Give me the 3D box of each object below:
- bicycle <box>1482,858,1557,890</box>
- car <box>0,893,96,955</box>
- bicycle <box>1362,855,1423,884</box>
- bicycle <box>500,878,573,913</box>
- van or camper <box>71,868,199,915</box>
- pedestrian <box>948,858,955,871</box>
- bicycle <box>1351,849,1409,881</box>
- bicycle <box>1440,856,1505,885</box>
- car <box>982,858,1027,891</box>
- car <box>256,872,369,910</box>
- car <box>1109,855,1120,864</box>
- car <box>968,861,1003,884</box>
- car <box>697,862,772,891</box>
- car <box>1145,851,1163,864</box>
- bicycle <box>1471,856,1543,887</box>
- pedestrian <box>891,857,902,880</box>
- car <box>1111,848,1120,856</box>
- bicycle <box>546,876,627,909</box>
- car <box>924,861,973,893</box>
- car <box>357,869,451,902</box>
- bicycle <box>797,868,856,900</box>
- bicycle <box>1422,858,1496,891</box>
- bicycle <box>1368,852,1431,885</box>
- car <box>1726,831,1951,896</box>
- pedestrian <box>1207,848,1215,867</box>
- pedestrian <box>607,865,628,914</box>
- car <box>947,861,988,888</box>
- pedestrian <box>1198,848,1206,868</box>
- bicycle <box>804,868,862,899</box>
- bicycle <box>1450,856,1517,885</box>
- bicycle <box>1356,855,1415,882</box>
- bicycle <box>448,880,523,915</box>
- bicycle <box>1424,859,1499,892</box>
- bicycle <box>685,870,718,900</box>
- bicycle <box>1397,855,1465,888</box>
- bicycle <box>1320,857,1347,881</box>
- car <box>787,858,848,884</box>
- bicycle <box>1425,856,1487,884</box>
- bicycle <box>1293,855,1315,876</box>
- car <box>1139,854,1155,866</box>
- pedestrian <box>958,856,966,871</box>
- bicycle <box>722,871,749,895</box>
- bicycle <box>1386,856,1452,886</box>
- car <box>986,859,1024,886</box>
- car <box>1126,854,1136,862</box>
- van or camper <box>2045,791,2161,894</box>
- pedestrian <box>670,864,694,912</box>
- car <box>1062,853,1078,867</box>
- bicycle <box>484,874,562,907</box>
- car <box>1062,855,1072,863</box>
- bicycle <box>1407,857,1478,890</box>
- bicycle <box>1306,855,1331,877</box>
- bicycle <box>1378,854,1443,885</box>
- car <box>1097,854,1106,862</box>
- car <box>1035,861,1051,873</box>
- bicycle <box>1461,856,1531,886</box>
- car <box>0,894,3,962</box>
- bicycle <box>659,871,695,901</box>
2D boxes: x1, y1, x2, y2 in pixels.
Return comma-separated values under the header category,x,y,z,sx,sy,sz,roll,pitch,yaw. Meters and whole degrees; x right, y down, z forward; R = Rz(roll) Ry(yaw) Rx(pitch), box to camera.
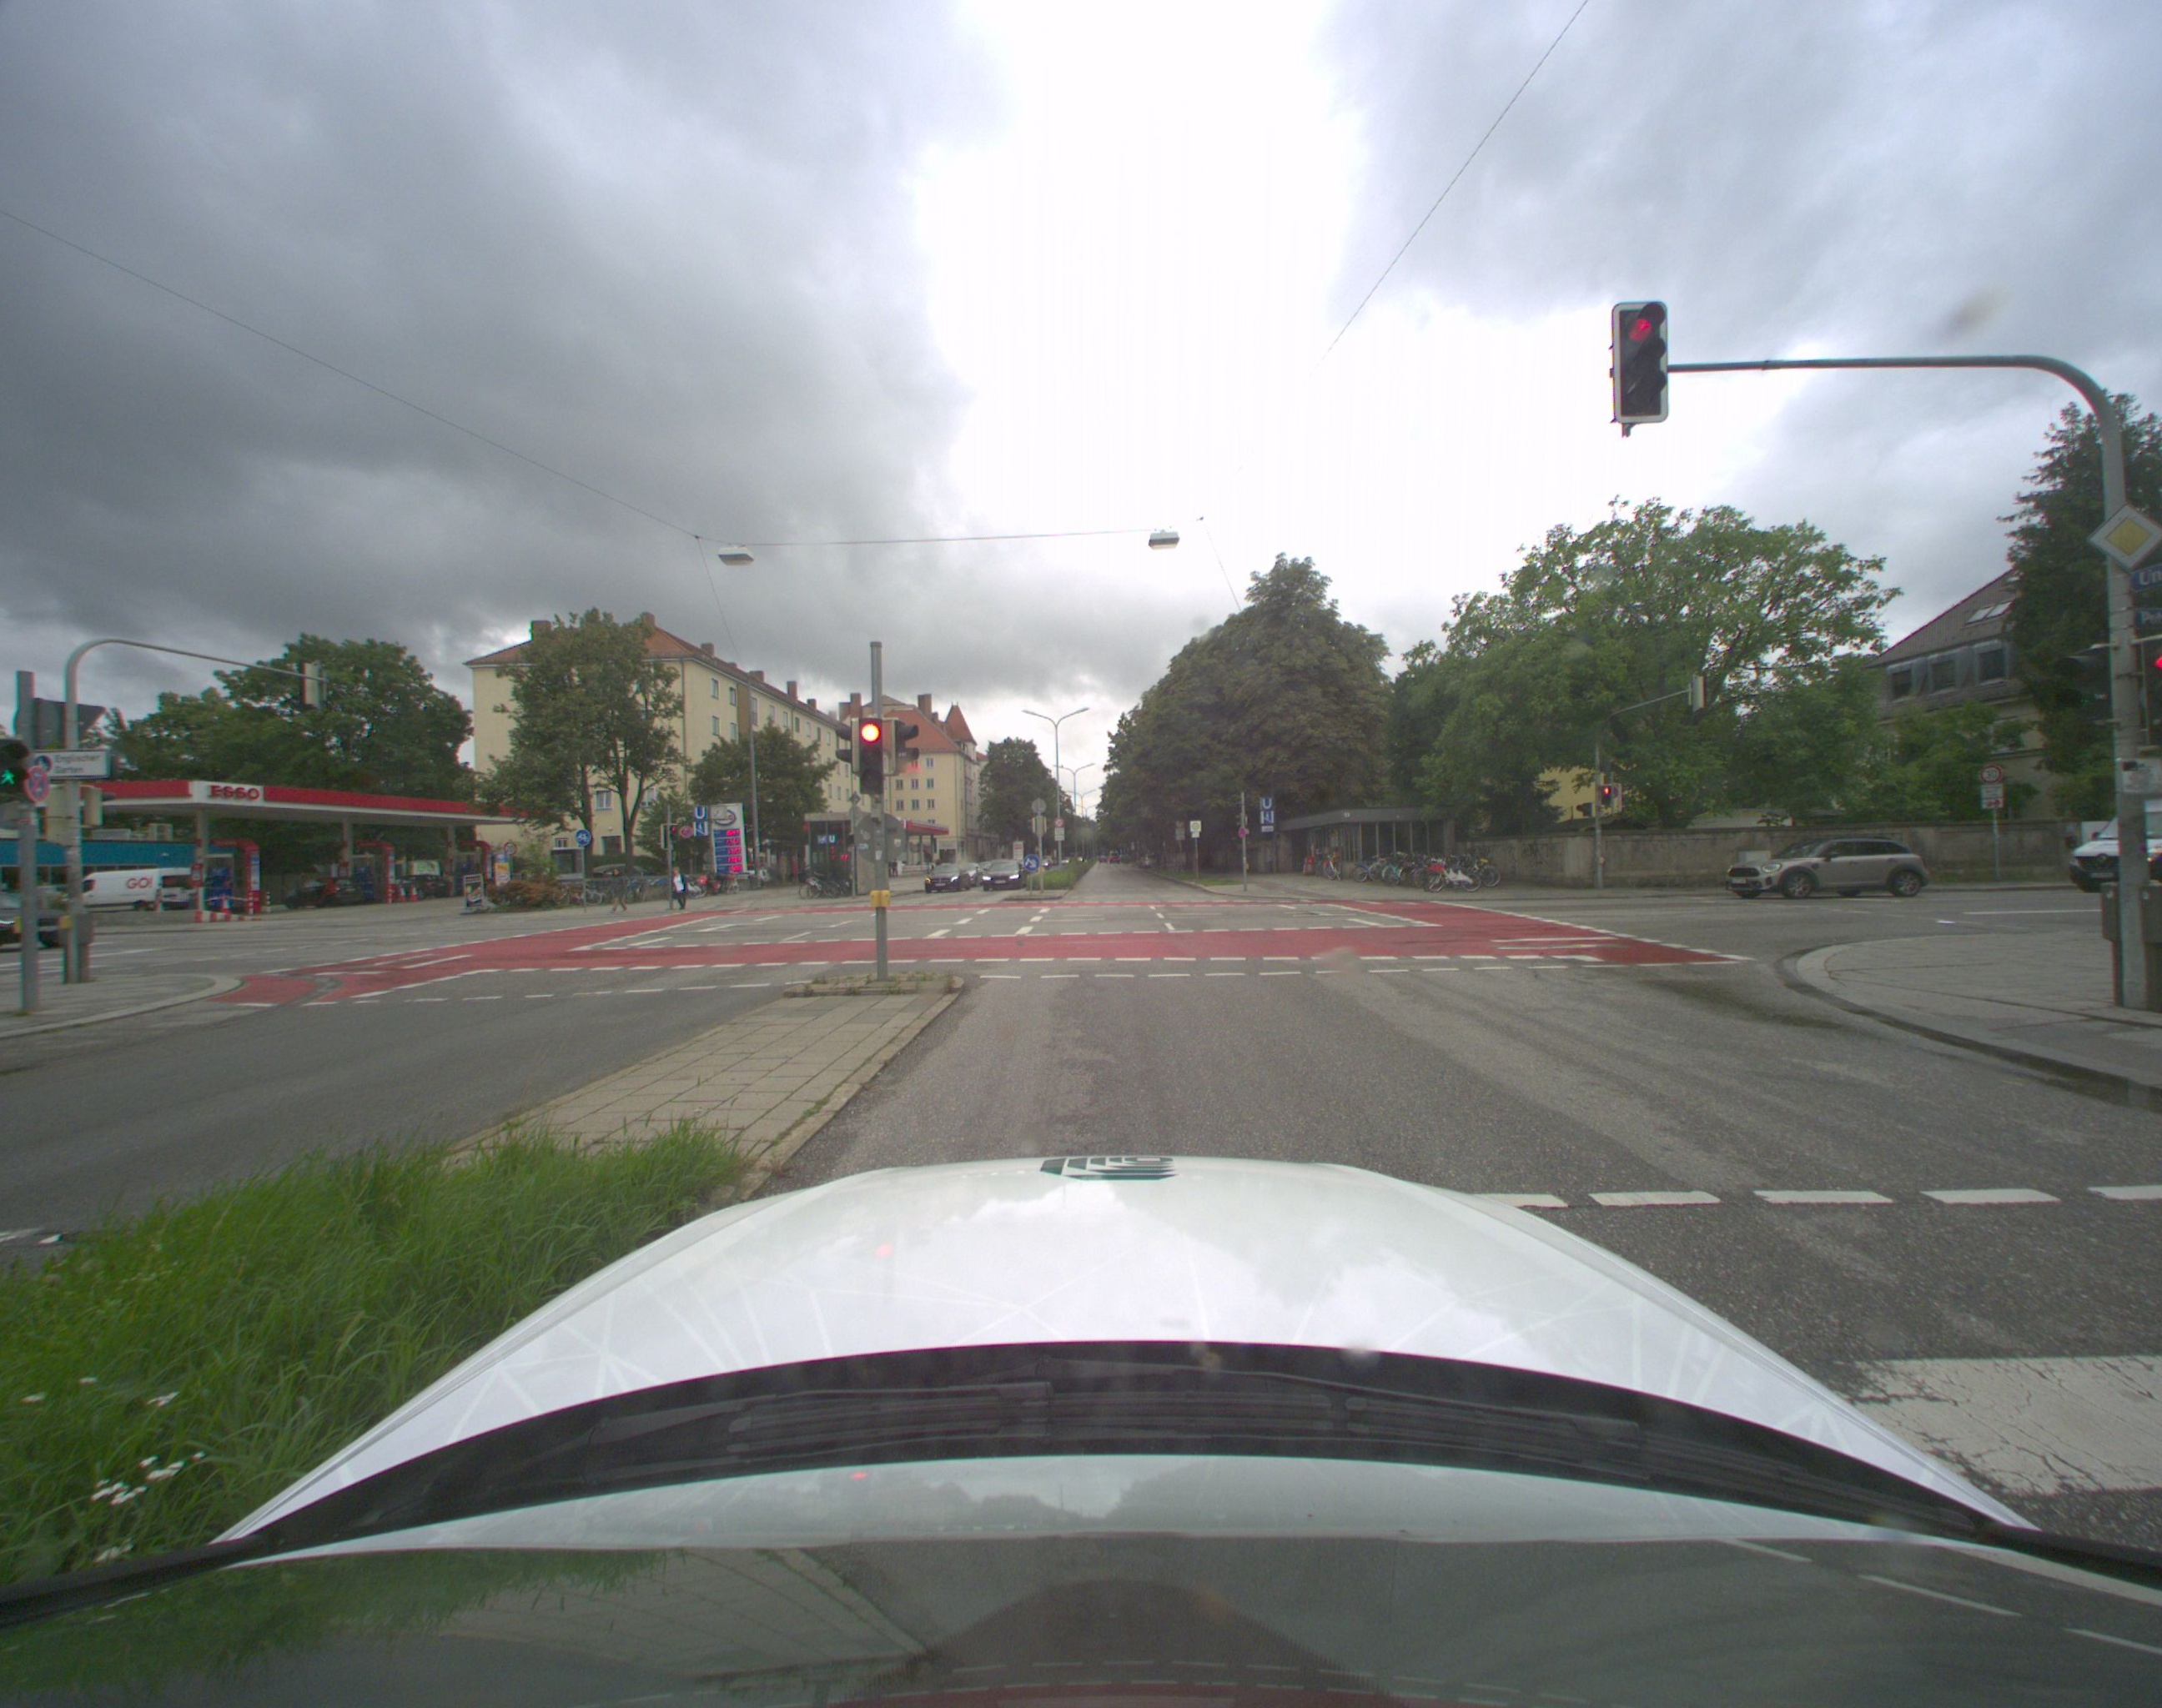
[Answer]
category,x,y,z,sx,sy,sz,roll,pitch,yaw
bicycle,14.926,0.691,27.740,2.130,1.014,0.636,-2,0,9
car,-27.644,1.780,20.615,3.532,1.412,1.666,-2,0,3
bicycle,12.165,0.613,31.838,2.130,1.062,0.604,-2,0,9
bicycle,-20.894,1.578,31.297,2.180,1.236,0.763,-2,0,-10
van or camper,-51.867,2.032,44.714,4.526,2.323,1.917,-2,0,-3
pedestrian,-16.111,1.284,101.410,0.693,1.638,0.738,-2,0,1
bicycle,12.269,0.444,33.433,2.130,1.218,0.604,-2,0,9
bicycle,14.832,0.615,30.888,2.130,1.014,0.636,-2,0,9
car,-3.764,0.969,40.824,1.753,1.493,4.001,-2,0,1
car,-39.589,1.894,42.015,3.973,1.784,1.858,-2,0,1
car,6.294,1.032,153.437,1.916,1.684,4.001,-2,0,1
car,-6.483,1.253,55.713,1.753,1.460,4.001,-2,0,1
car,-21.348,1.372,50.269,3.961,1.608,1.807,-2,0,-15
car,8.033,0.367,89.715,1.737,1.363,3.807,-2,0,1
bicycle,14.895,0.597,28.539,2.130,1.014,0.636,-2,0,9
pedestrian,-15.951,1.244,70.445,0.727,2.014,0.835,0,-1,1
car,7.834,-0.544,187.017,1.986,1.756,4.001,-2,0,1
bicycle,-19.587,1.506,32.353,2.720,1.251,0.786,0,-1,-29
car,-6.741,1.128,41.823,1.753,1.460,4.001,-2,0,1
car,-40.389,1.876,48.627,3.973,1.784,1.858,-2,0,1
bicycle,-11.021,1.281,35.281,2.262,1.304,0.704,-2,0,2
bicycle,12.732,0.691,27.480,2.130,1.014,0.636,-2,0,9
bicycle,12.173,0.549,31.136,2.130,1.178,0.604,-2,0,9
car,19.704,0.250,21.341,4.148,1.514,1.697,-2,0,4
pedestrian,11.482,0.323,71.927,0.674,1.682,0.684,-2,0,7
pedestrian,-16.473,1.257,28.939,0.593,1.695,0.571,-2,0,-29
car,-6.717,1.187,48.632,1.753,1.460,4.001,-2,0,1
pedestrian,10.717,0.364,71.997,0.674,1.682,0.684,-2,0,7
bicycle,-10.975,1.296,36.060,2.276,1.304,0.694,-2,0,2
bicycle,14.864,0.610,30.102,2.130,1.014,0.636,-2,0,9
bicycle,12.218,0.585,32.719,2.130,1.014,0.604,-2,0,9
bicycle,-22.828,1.650,31.245,2.179,1.236,0.764,-2,0,-8
bicycle,12.516,0.706,26.860,2.130,1.014,0.604,-2,0,9
bicycle,-17.181,1.385,36.887,0.607,1.236,2.183,-2,0,-5
bicycle,12.413,0.603,28.948,2.130,1.101,0.604,-2,0,9
bicycle,11.133,0.638,35.975,0.555,1.014,2.015,-2,0,0
car,-20.114,1.261,62.300,3.976,1.838,1.879,-2,0,-2
bicycle,14.935,0.631,32.468,2.130,1.014,0.636,-2,0,9
bicycle,11.515,0.584,42.081,0.555,1.014,2.015,-2,0,0
car,8.112,0.724,99.836,1.737,1.363,3.807,-2,0,1
pedestrian,-13.497,1.095,92.475,0.693,1.638,0.738,-2,0,1
bicycle,-17.405,1.432,41.040,0.607,1.145,1.962,-2,0,-5
bicycle,12.305,0.622,29.665,2.130,1.014,0.604,-2,0,9
car,-4.467,1.069,48.421,1.753,1.493,4.001,-2,0,1
car,9.825,0.713,159.255,1.737,1.427,3.900,-2,0,1
van or camper,28.398,-0.363,20.500,5.529,2.469,2.069,-2,0,3
pedestrian,-14.585,1.230,29.775,0.532,1.695,0.577,-2,0,0
car,-1.144,0.626,85.485,1.463,1.399,3.701,-2,0,1
bicycle,-21.881,1.420,31.955,2.394,1.251,0.789,0,-1,-10
car,-2.857,0.921,162.020,1.753,1.460,4.001,-2,0,1
bicycle,12.534,0.675,28.290,2.130,1.071,0.604,-2,0,9
bicycle,11.261,0.550,38.708,0.555,1.014,2.015,-2,0,0
bicycle,12.284,0.590,30.395,2.130,1.086,0.604,-2,0,9
car,4.210,0.812,168.851,1.850,1.684,4.001,-2,0,1
car,-4.965,1.663,106.400,1.753,1.493,4.001,-2,0,1
bicycle,14.922,0.605,29.306,2.130,1.014,0.636,-2,0,9
car,-25.902,1.710,17.310,3.609,1.517,1.663,-2,0,-2
bicycle,-17.861,1.401,36.072,0.607,1.236,2.183,-2,0,-5
